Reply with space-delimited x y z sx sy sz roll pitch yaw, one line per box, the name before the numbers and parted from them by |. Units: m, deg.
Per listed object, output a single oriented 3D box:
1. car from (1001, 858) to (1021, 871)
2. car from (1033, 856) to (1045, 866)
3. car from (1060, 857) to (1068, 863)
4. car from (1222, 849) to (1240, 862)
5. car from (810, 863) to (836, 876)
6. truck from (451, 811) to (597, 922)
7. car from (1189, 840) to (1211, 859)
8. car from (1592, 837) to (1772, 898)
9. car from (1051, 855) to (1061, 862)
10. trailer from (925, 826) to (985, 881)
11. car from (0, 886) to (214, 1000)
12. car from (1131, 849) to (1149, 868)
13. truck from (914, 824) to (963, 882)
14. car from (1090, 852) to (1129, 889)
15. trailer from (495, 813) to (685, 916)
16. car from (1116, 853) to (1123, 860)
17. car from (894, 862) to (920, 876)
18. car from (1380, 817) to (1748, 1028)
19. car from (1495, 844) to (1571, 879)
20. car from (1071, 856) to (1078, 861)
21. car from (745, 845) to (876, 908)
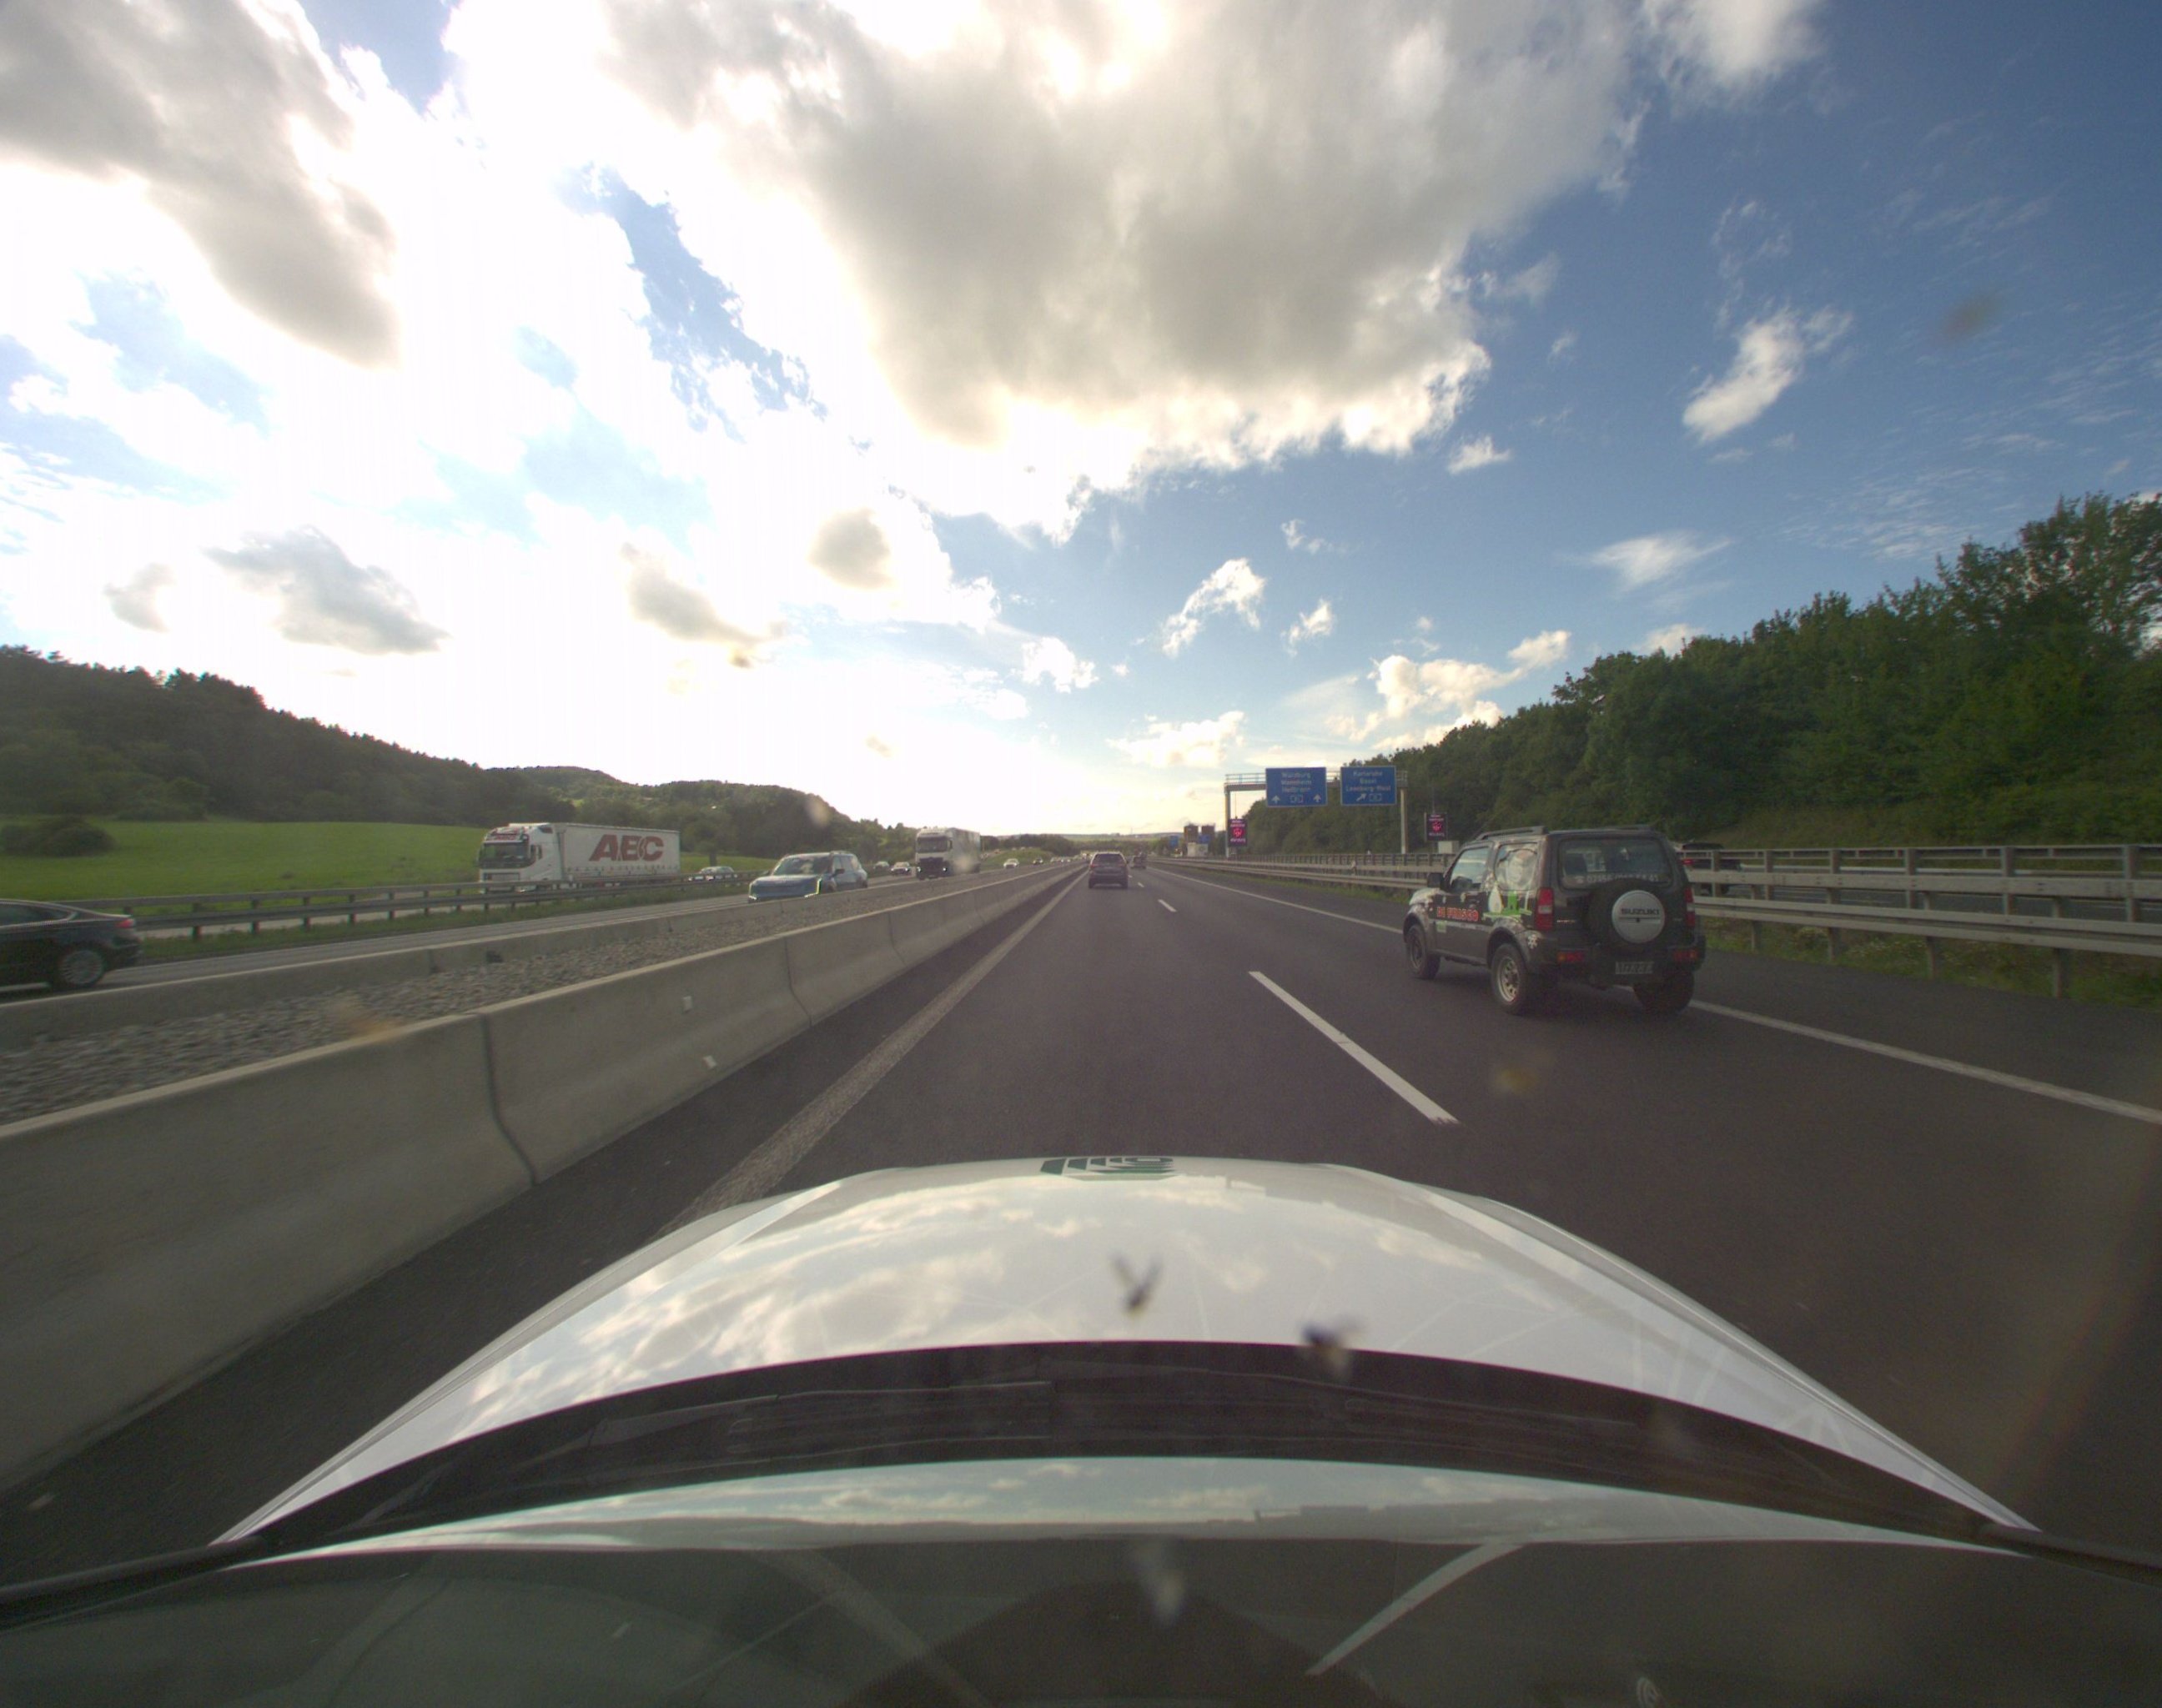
car | -9.238 1.359 108.154 1.986 1.618 5.004 -2 0 2
car | -7.806 1.303 152.049 1.794 1.618 4.303 -2 0 2
car | -4.816 1.615 226.182 1.986 1.532 4.508 -2 0 1
car | 22.161 0.243 120.103 1.986 1.717 4.001 -2 0 1
car | -34.094 2.068 107.728 1.794 1.618 4.303 -2 0 2
truck | -28.363 0.606 41.912 3.018 5.142 6.622 -2 -1 -3
car | 24.435 -0.908 167.103 3.563 3.676 7.551 -2 0 2
car | 16.229 0.342 22.282 1.987 1.484 4.000 -1 0 0
car | -5.985 1.076 196.350 1.986 1.456 4.182 -2 0 2
trailer | -10.446 -0.018 69.201 2.479 4.129 13.288 -2 0 2
car | -15.998 1.314 11.385 1.935 1.494 5.308 -2 0 2
car | 7.020 0.543 96.988 1.986 2.081 4.001 -2 0 1
truck | -10.693 -0.064 61.510 2.479 4.129 5.300 -2 -1 2
car | 1.383 0.746 38.990 1.742 1.630 3.611 -2 0 3
trailer | -28.741 0.614 49.067 3.102 5.160 14.701 -2 0 -3
car | 10.481 0.782 222.091 1.968 1.779 4.121 -2 0 1
car | -19.909 1.662 93.454 1.935 1.494 4.129 -2 0 2
car | 4.767 0.581 8.857 1.659 1.732 4.210 -1 0 3
car | 24.482 0.397 44.276 1.986 1.708 4.001 -2 0 1
car | -1.934 1.383 244.118 1.986 1.532 5.022 -2 0 1
car | -7.383 0.581 22.810 1.840 1.494 4.974 -2 0 2
